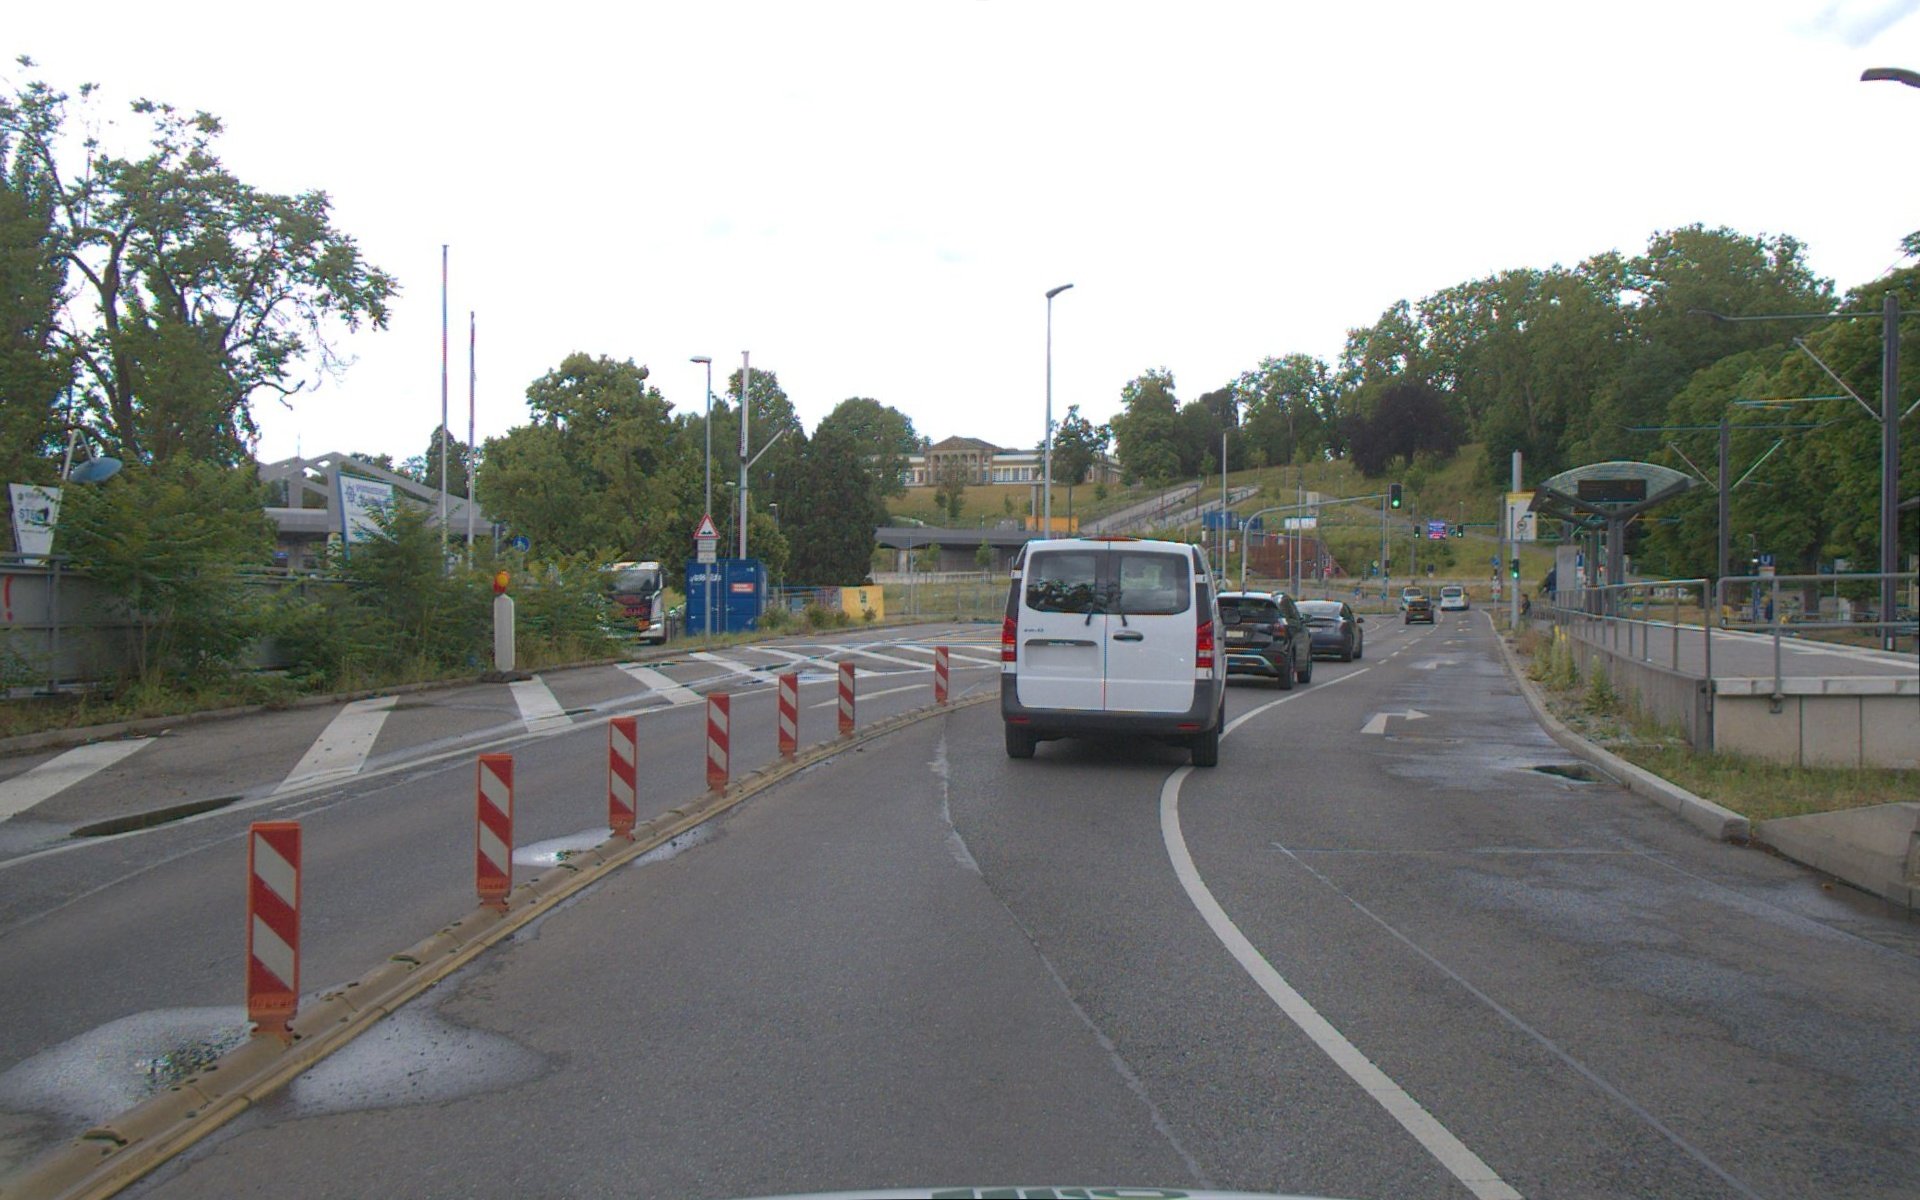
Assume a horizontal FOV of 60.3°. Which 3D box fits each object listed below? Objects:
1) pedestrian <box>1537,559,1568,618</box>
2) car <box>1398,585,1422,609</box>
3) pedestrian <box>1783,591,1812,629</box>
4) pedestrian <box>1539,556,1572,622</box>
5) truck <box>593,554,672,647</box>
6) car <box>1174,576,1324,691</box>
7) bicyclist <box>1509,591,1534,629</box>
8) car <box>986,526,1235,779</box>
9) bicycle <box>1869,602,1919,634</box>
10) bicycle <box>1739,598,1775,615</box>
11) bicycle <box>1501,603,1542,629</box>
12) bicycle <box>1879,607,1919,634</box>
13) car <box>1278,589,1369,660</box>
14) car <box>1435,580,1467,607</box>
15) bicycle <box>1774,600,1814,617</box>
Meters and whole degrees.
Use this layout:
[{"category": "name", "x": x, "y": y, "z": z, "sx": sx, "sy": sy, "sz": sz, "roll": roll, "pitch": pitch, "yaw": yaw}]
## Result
[{"category": "pedestrian", "x": 16.211, "y": -0.322, "z": 45.267, "sx": 0.735, "sy": 1.580, "sz": 0.775, "roll": 3, "pitch": 2, "yaw": 19}, {"category": "car", "x": 37.222, "y": -0.249, "z": 136.874, "sx": 1.715, "sy": 1.802, "sz": 4.003, "roll": 3, "pitch": 1, "yaw": 13}, {"category": "pedestrian", "x": 36.228, "y": 0.433, "z": 71.539, "sx": 0.816, "sy": 1.637, "sz": 0.778, "roll": 0, "pitch": 0, "yaw": -4}, {"category": "pedestrian", "x": 16.012, "y": -0.302, "z": 44.484, "sx": 0.754, "sy": 1.728, "sz": 0.732, "roll": 3, "pitch": 2, "yaw": 19}, {"category": "truck", "x": -12.836, "y": -0.039, "z": 65.315, "sx": 2.741, "sy": 3.394, "sz": 8.460, "roll": -1, "pitch": 1, "yaw": -10}, {"category": "car", "x": 5.014, "y": 0.528, "z": 28.302, "sx": 1.800, "sy": 1.759, "sz": 4.063, "roll": 2, "pitch": 1, "yaw": 20}, {"category": "bicyclist", "x": 23.973, "y": 0.418, "z": 70.670, "sx": 0.792, "sy": 1.599, "sz": 0.614, "roll": 0, "pitch": 1, "yaw": -21}, {"category": "car", "x": 1.559, "y": 0.392, "z": 15.408, "sx": 1.917, "sy": 1.937, "sz": 4.465, "roll": 2, "pitch": 1, "yaw": 9}, {"category": "bicycle", "x": 37.505, "y": 0.719, "z": 66.228, "sx": 1.834, "sy": 1.159, "sz": 0.533, "roll": 3, "pitch": 0, "yaw": 19}, {"category": "bicycle", "x": 46.621, "y": 0.379, "z": 96.770, "sx": 1.872, "sy": 0.992, "sz": 0.531, "roll": 0, "pitch": 0, "yaw": 19}, {"category": "bicycle", "x": 23.985, "y": 0.673, "z": 70.679, "sx": 1.655, "sy": 1.092, "sz": 0.616, "roll": 0, "pitch": 1, "yaw": -22}, {"category": "bicycle", "x": 36.617, "y": 0.805, "z": 63.868, "sx": 1.834, "sy": 0.980, "sz": 0.533, "roll": 3, "pitch": 0, "yaw": 19}, {"category": "car", "x": 9.034, "y": 0.570, "z": 40.901, "sx": 1.800, "sy": 1.610, "sz": 4.064, "roll": 2, "pitch": 1, "yaw": 17}, {"category": "car", "x": 39.197, "y": -0.530, "z": 132.068, "sx": 2.154, "sy": 2.049, "sz": 5.155, "roll": 1, "pitch": 0, "yaw": 13}, {"category": "bicycle", "x": 44.387, "y": 0.448, "z": 88.042, "sx": 1.872, "sy": 0.911, "sz": 0.531, "roll": 0, "pitch": 0, "yaw": 19}]
